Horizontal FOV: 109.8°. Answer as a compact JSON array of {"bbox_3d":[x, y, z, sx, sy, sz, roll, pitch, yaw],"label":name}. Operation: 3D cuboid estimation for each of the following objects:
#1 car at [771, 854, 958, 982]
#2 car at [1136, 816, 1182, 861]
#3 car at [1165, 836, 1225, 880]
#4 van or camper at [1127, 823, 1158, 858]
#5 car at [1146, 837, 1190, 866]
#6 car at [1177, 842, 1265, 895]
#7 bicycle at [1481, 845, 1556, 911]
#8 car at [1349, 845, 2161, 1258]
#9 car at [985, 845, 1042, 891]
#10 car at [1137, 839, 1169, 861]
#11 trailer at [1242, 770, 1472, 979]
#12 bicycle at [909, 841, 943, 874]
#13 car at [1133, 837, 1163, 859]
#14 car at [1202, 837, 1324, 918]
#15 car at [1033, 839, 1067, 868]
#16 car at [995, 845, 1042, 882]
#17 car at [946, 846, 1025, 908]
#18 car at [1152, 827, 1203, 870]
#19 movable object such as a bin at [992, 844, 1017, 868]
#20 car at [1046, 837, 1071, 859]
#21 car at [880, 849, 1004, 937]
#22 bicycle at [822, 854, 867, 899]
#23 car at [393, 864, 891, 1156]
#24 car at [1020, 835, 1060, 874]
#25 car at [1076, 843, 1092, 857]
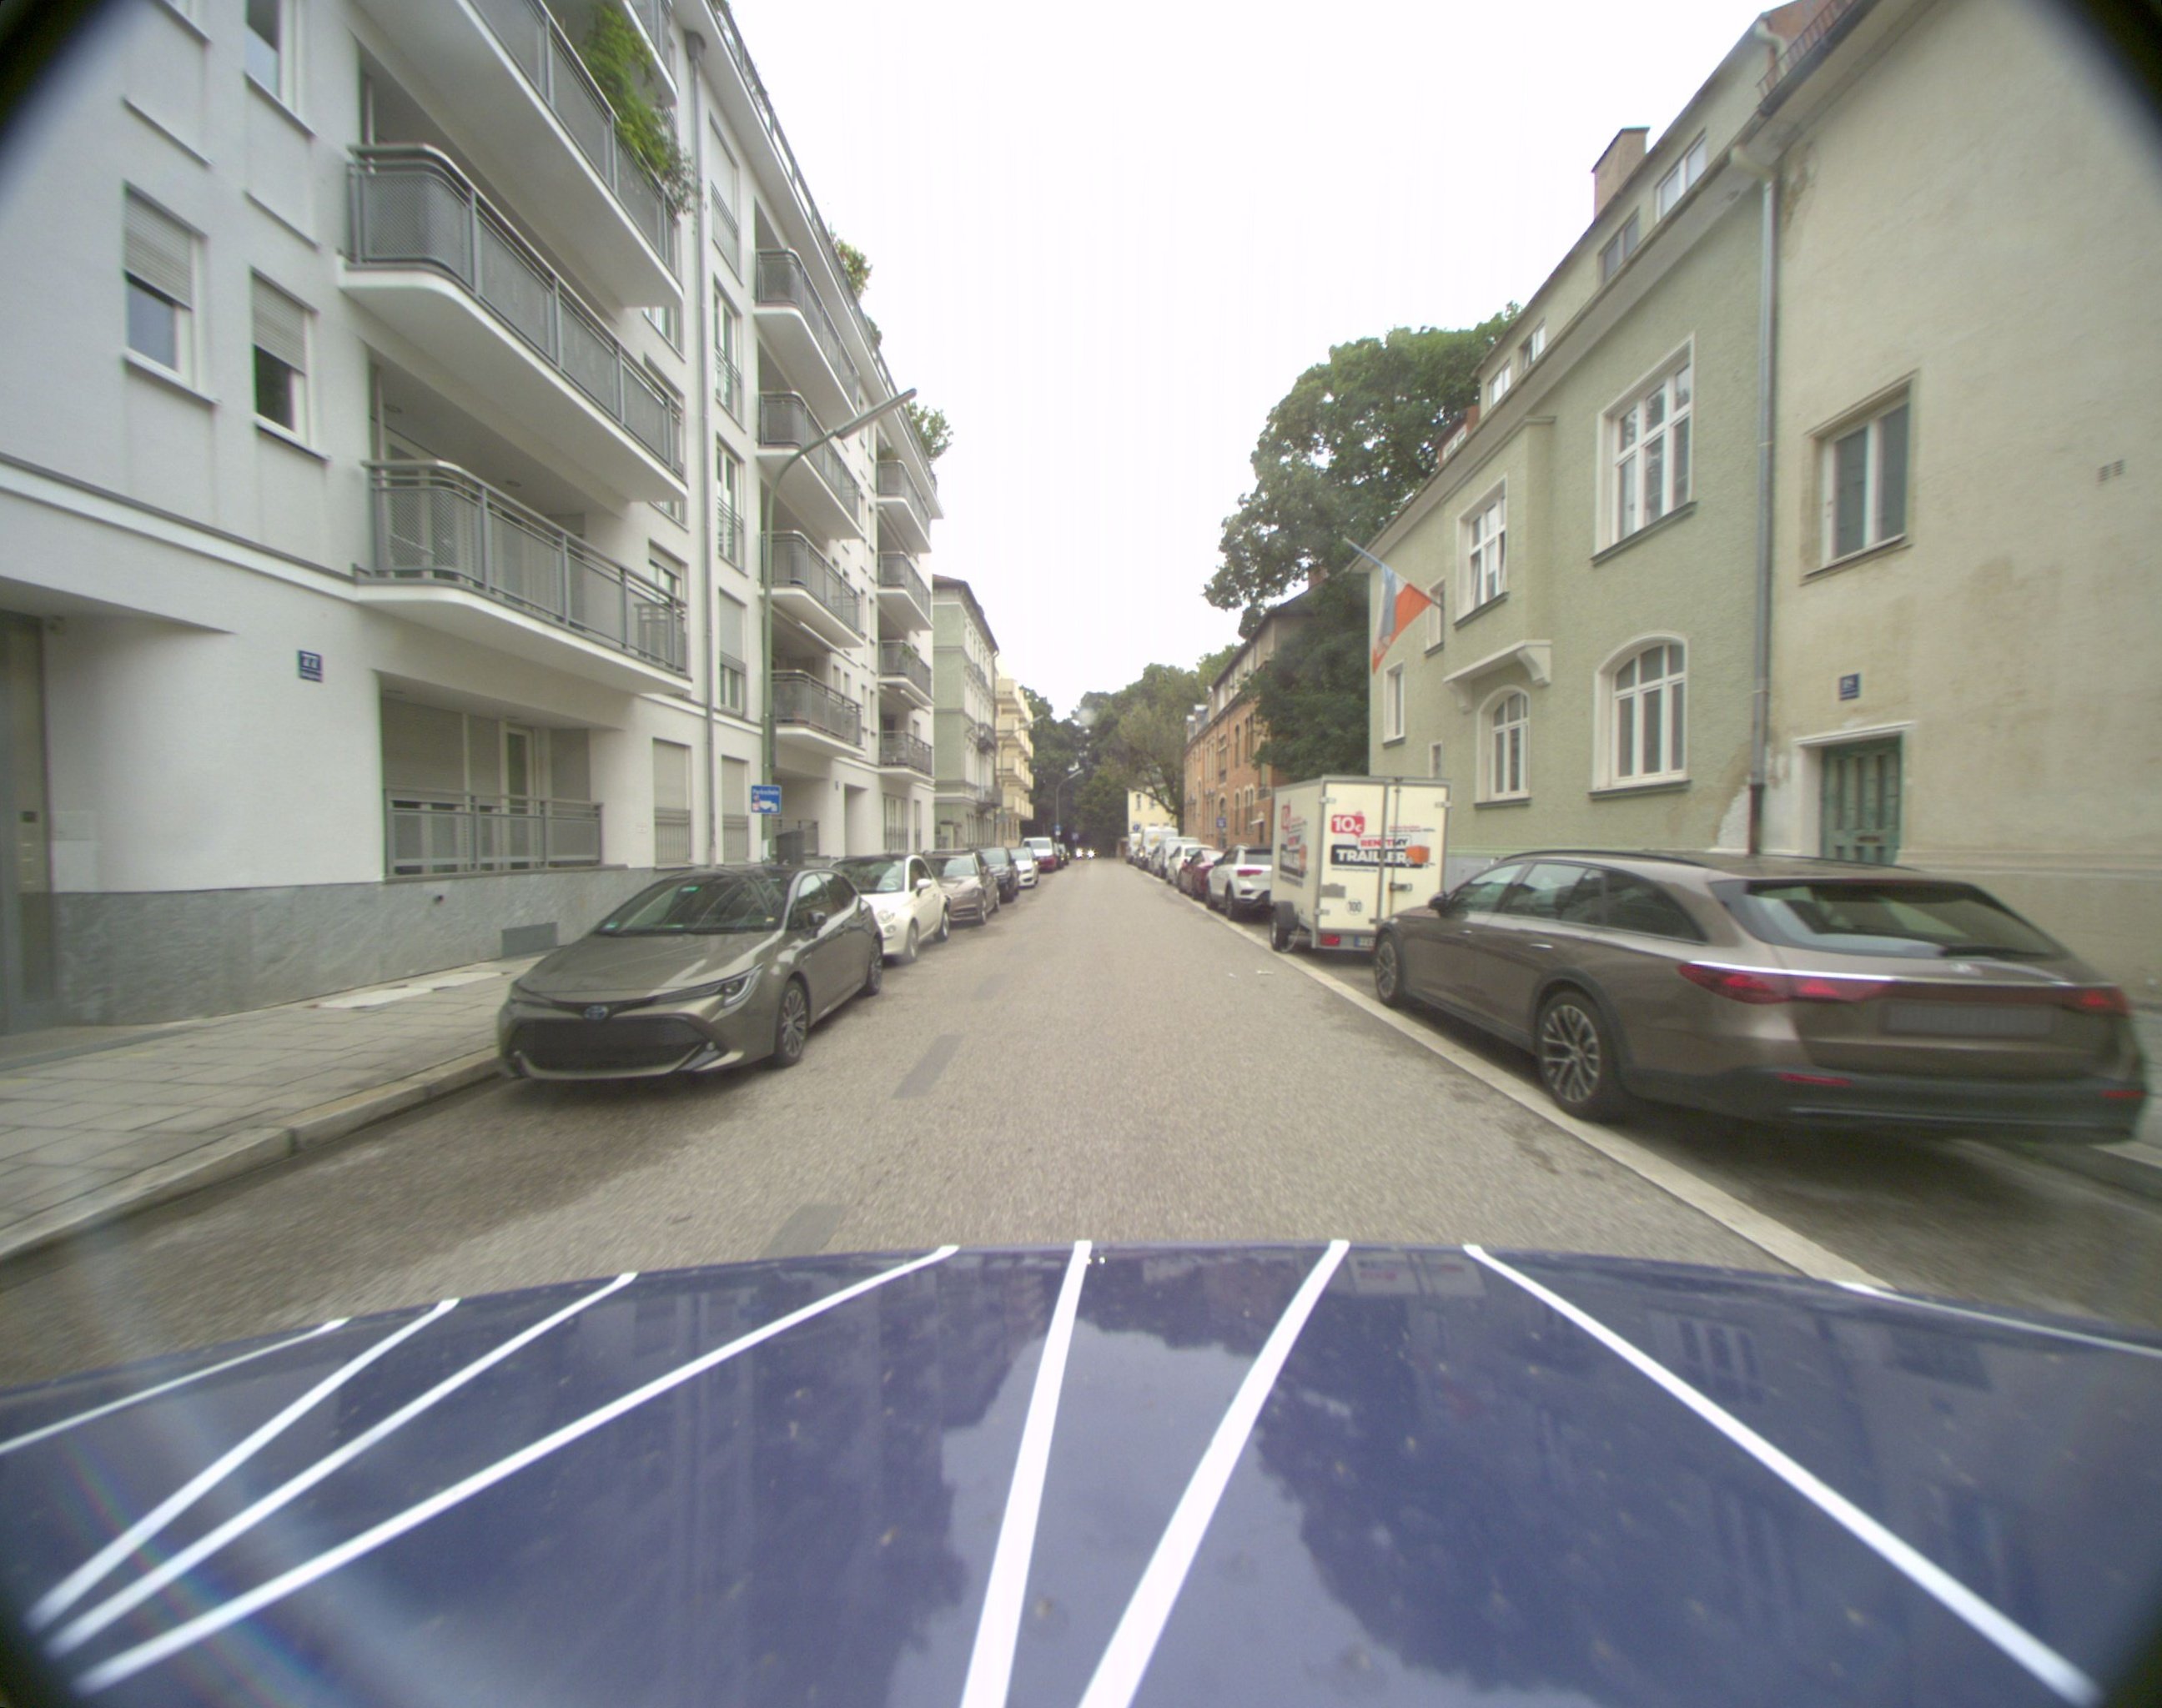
[{"bbox_3d":[-3.023,0.811,11.431,1.621,1.459,3.745,-2,1,1],"label":"car"},{"bbox_3d":[4.426,-0.883,43.867,2.117,2.462,5.230,0,1,0],"label":"car"},{"bbox_3d":[3.984,0.102,27.132,1.630,1.459,3.520,0,1,0],"label":"car"},{"bbox_3d":[4.825,-1.086,60.298,2.116,2.646,4.957,0,1,0],"label":"van or camper"},{"bbox_3d":[4.337,-0.157,38.395,1.719,1.412,4.165,0,1,0],"label":"car"},{"bbox_3d":[3.891,0.334,21.802,1.750,1.360,4.402,0,1,0],"label":"car"},{"bbox_3d":[7.912,0.399,13.793,0.461,1.079,1.522,-3,2,0],"label":"bicycle"},{"bbox_3d":[3.656,0.722,5.436,1.868,1.533,5.091,1,1,3],"label":"car"},{"bbox_3d":[-2.404,0.442,28.047,1.668,1.459,4.375,-3,1,-1],"label":"car"},{"bbox_3d":[4.624,-0.281,49.248,1.769,1.407,3.792,0,1,0],"label":"car"},{"bbox_3d":[3.782,0.187,11.411,1.980,2.457,4.577,2,2,4],"label":"trailer"},{"bbox_3d":[-5.850,0.110,28.812,0.803,1.165,1.973,-2,1,1],"label":"bicycle"},{"bbox_3d":[4.767,-0.428,54.308,1.769,1.492,4.080,0,1,0],"label":"car"},{"bbox_3d":[3.770,0.414,16.442,1.683,1.521,4.106,0,1,0],"label":"car"},{"bbox_3d":[-1.942,-0.073,48.953,1.860,1.701,4.697,-2,1,1],"label":"car"},{"bbox_3d":[-2.633,0.376,32.847,1.719,1.415,3.718,-3,1,-1],"label":"car"},{"bbox_3d":[-2.683,0.578,22.140,1.842,1.524,4.020,-3,1,-2],"label":"car"},{"bbox_3d":[4.185,-0.258,33.468,1.719,1.746,4.249,0,1,0],"label":"car"},{"bbox_3d":[-3.969,0.108,39.719,1.023,1.186,2.163,1,1,2],"label":"movable object such as a bin"},{"bbox_3d":[-1.712,-0.471,60.005,1.771,1.608,4.262,-1,1,0],"label":"car"},{"bbox_3d":[-2.777,0.695,16.212,1.796,1.474,4.602,-2,1,-1],"label":"car"},{"bbox_3d":[-6.271,0.580,20.205,0.570,1.092,1.810,2,1,1],"label":"bicycle"},{"bbox_3d":[-2.971,0.901,6.368,1.776,1.467,4.216,-1,1,-2],"label":"car"},{"bbox_3d":[-2.276,-0.022,43.032,1.858,2.019,4.782,-2,1,1],"label":"car"},{"bbox_3d":[0.308,-0.474,83.828,1.482,1.521,3.691,-1,1,-5],"label":"car"}]
